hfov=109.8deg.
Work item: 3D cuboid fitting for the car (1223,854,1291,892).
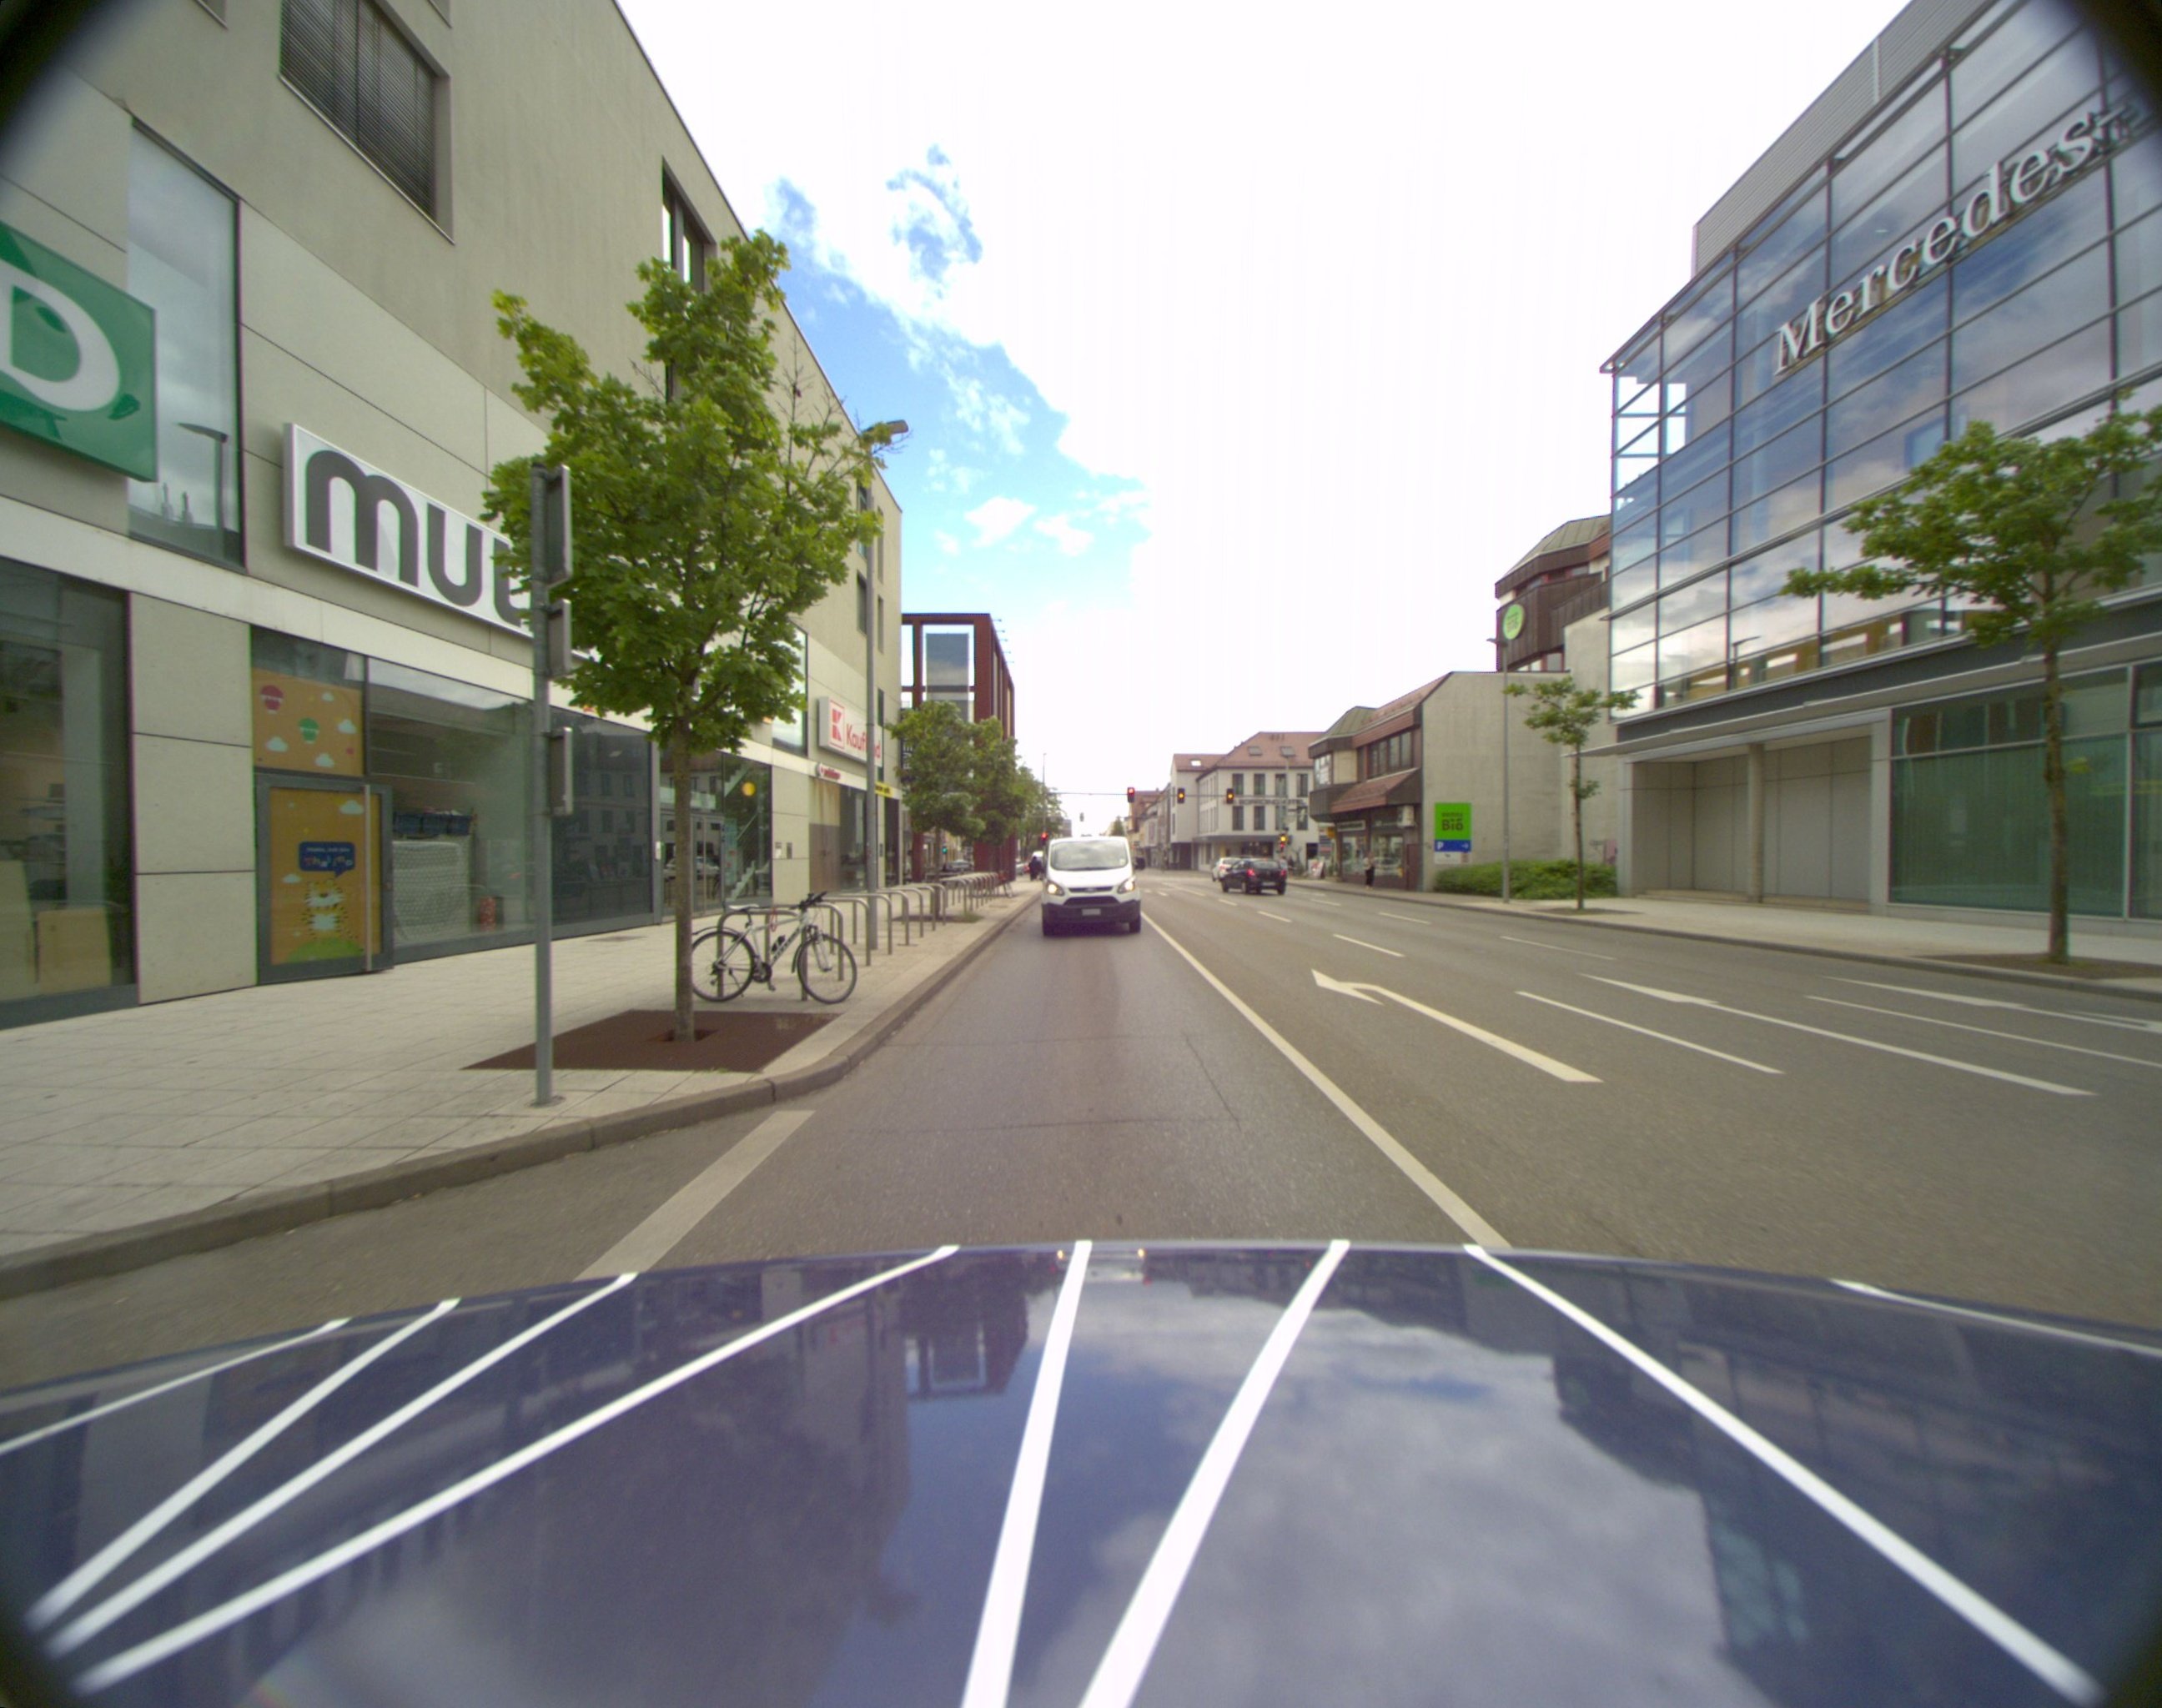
[{"bbox_3d":[7.243,0.751,31.621,1.802,1.458,3.999,0,0,-2],"label":"car"}]

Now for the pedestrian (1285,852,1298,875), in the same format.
[{"bbox_3d":[14.283,0.631,51.573,0.555,1.507,0.582,-1,1,-32],"label":"pedestrian"}]

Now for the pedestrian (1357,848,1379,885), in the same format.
[{"bbox_3d":[12.649,0.542,33.481,0.702,1.614,0.693,0,1,1],"label":"pedestrian"}]

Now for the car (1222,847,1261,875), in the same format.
[{"bbox_3d":[11.182,0.441,53.139,1.937,1.883,4.000,0,0,1],"label":"car"}]

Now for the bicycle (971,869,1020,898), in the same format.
[{"bbox_3d":[-3.096,1.063,27.495,1.745,1.015,0.451,0,1,-6],"label":"bicycle"}]

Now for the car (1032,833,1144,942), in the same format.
[{"bbox_3d":[0.156,0.600,16.735,2.000,1.976,5.000,-3,1,1],"label":"car"}]

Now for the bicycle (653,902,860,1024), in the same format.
[{"bbox_3d":[-3.110,1.043,7.391,1.745,1.094,0.561,1,1,-7],"label":"bicycle"}]

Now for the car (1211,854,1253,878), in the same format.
[{"bbox_3d":[9.507,0.714,48.098,1.937,1.458,4.000,0,0,1],"label":"car"}]
